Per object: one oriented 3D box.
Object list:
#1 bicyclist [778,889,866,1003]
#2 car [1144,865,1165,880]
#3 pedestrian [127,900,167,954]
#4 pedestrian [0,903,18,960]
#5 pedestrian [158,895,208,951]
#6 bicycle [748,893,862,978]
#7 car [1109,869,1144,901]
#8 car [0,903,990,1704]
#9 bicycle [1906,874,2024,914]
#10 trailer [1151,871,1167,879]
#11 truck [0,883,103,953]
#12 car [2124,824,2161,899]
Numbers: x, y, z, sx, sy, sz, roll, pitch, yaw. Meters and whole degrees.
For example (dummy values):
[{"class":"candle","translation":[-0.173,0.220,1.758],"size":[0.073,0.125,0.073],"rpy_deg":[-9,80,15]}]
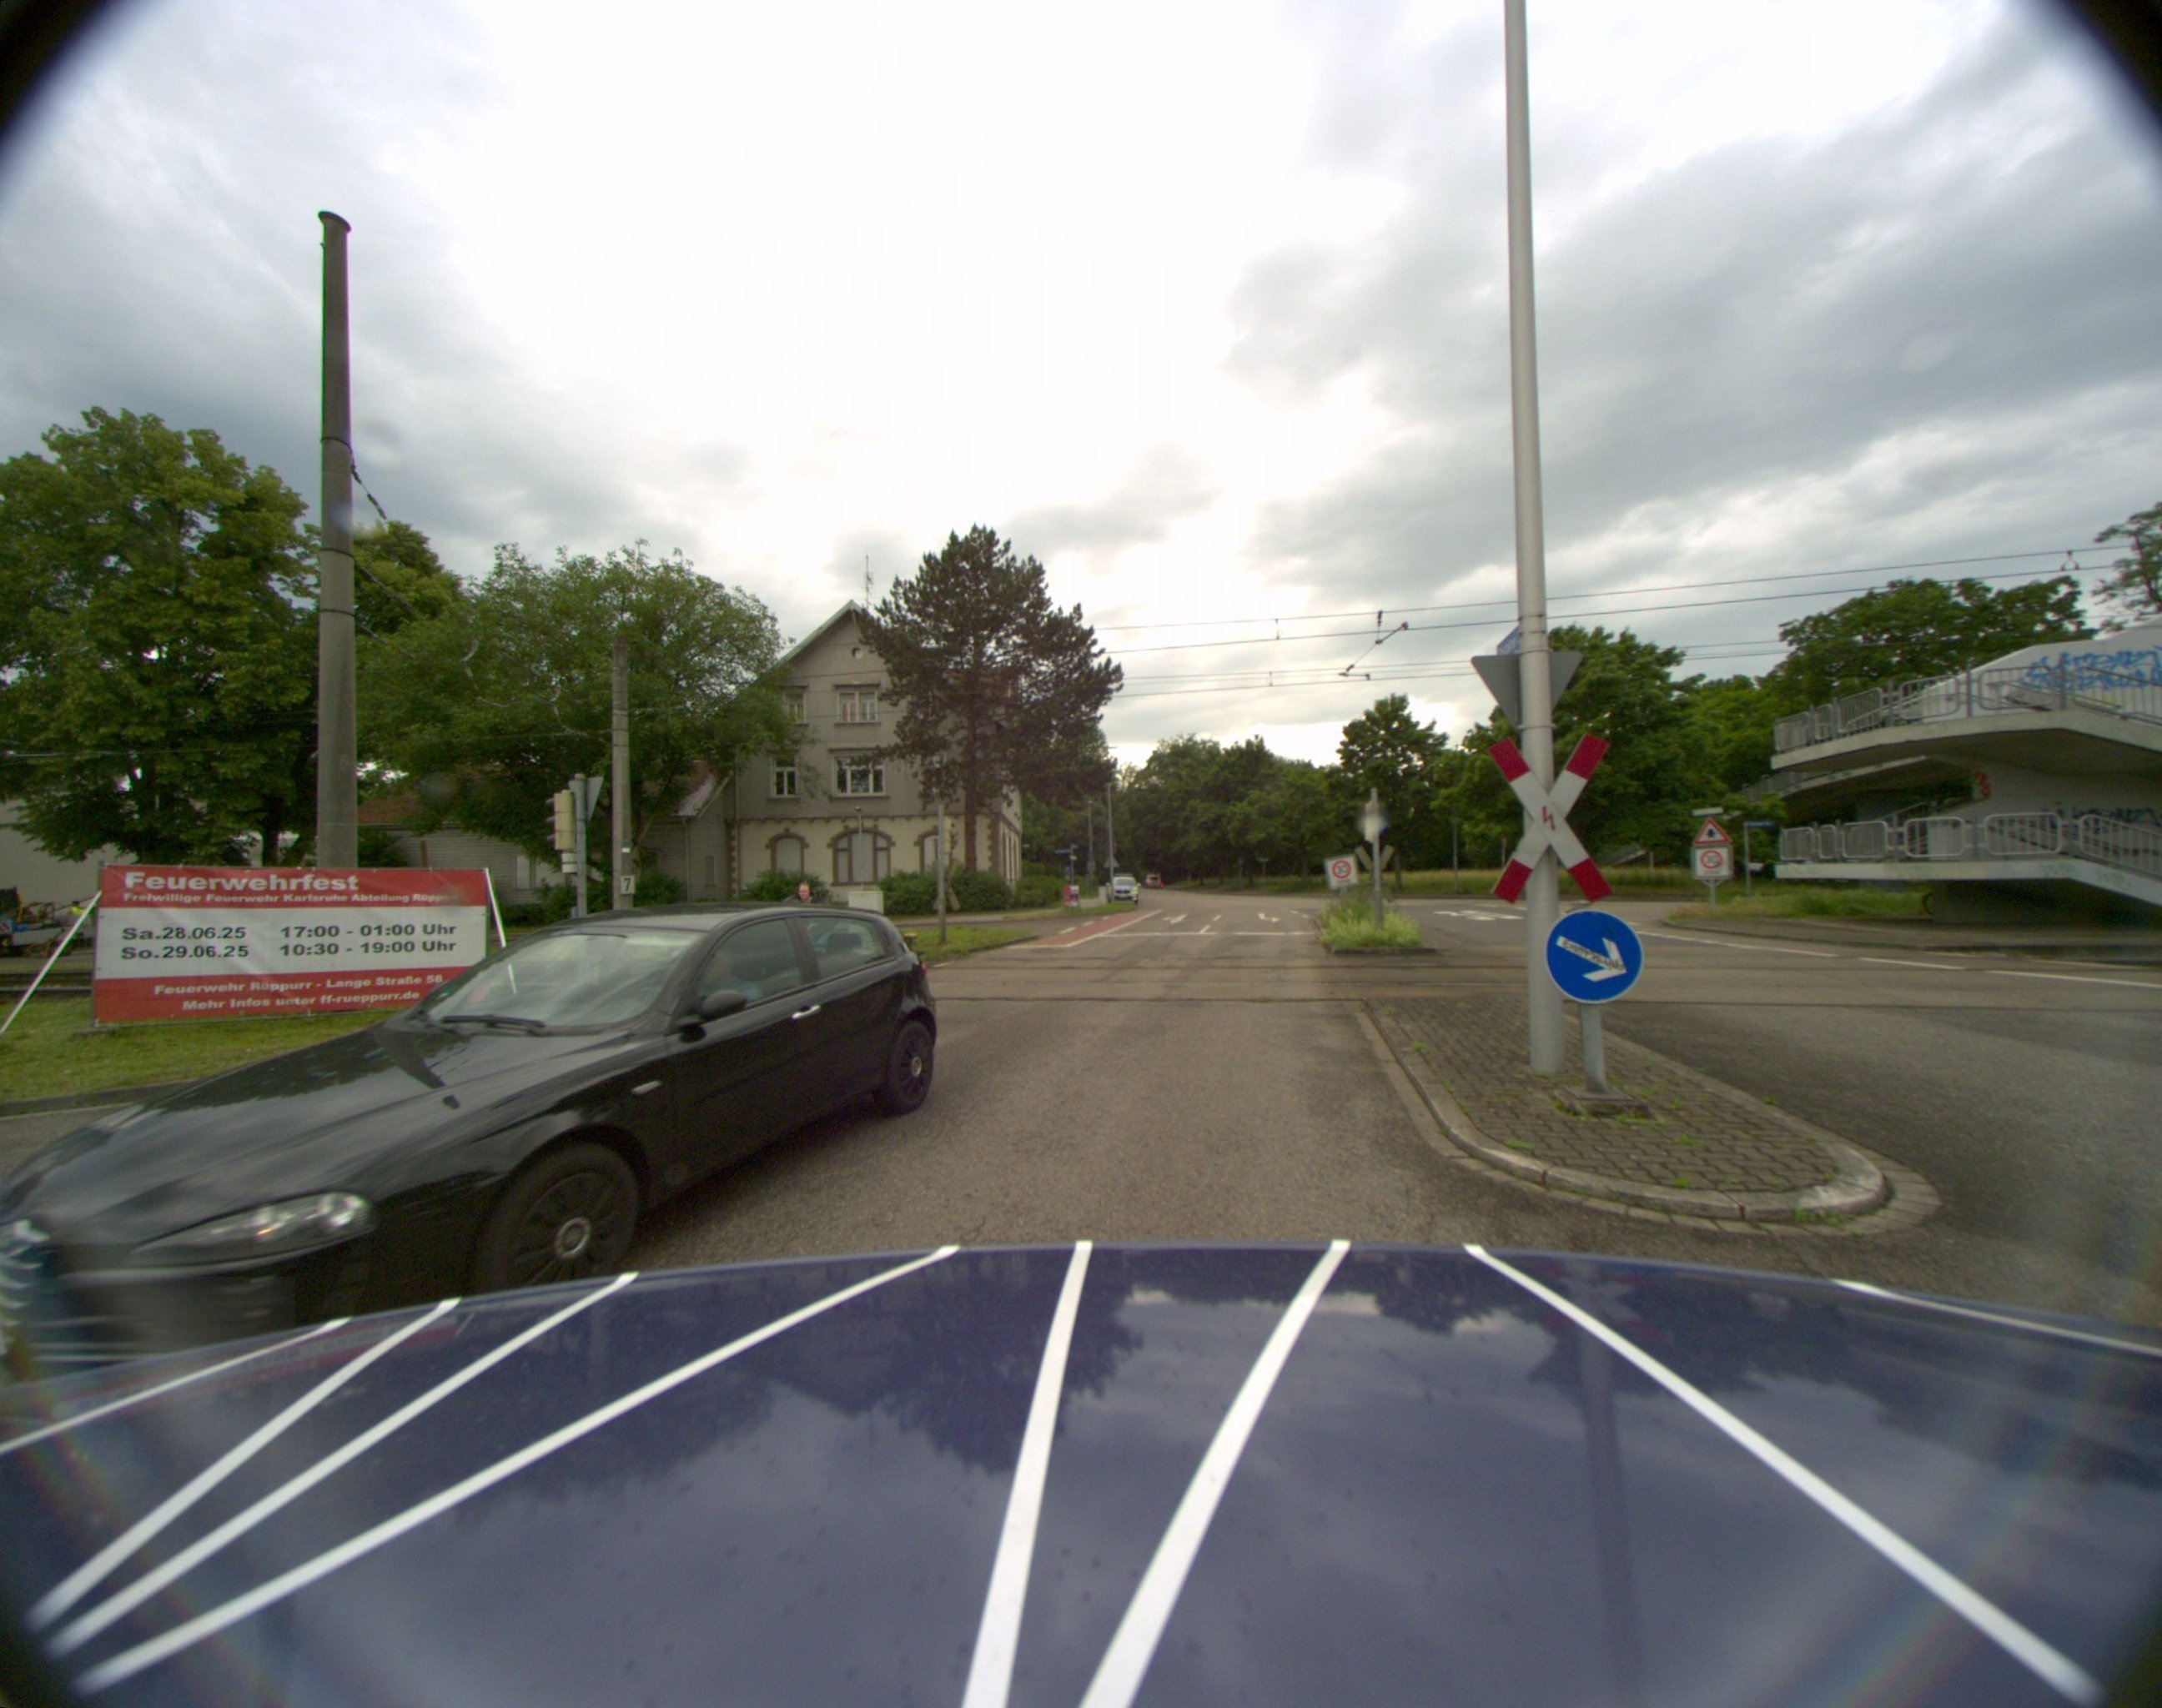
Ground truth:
[{"class":"bicyclist","translation":[-3.531,1.230,10.421],"size":[0.622,1.416,0.962],"rpy_deg":[-6,-1,12]},{"class":"car","translation":[9.519,2.432,98.768],"size":[2.094,1.846,4.221],"rpy_deg":[-2,-1,-3]},{"class":"pedestrian","translation":[-31.904,2.478,25.960],"size":[0.576,1.752,0.636],"rpy_deg":[-2,0,-7]},{"class":"pedestrian","translation":[-35.995,2.575,25.165],"size":[0.714,1.829,0.608],"rpy_deg":[-1,-1,-32]},{"class":"pedestrian","translation":[-30.614,2.348,25.907],"size":[0.679,1.843,0.875],"rpy_deg":[-2,-1,15]},{"class":"bicycle","translation":[-3.660,1.041,10.254],"size":[0.383,0.974,2.032],"rpy_deg":[-2,-1,13]},{"class":"car","translation":[2.735,1.815,46.156],"size":[1.935,1.839,4.001],"rpy_deg":[0,-1,1]},{"class":"car","translation":[-2.244,1.115,4.035],"size":[1.800,1.448,4.547],"rpy_deg":[-2,-1,16]},{"class":"bicycle","translation":[20.615,0.931,17.759],"size":[1.738,0.880,0.395],"rpy_deg":[-2,-1,37]},{"class":"trailer","translation":[9.758,2.583,94.937],"size":[1.571,0.979,3.465],"rpy_deg":[-2,-1,-1]},{"class":"truck","translation":[-39.578,2.302,27.071],"size":[6.405,2.279,2.606],"rpy_deg":[-2,-1,3]},{"class":"car","translation":[35.470,0.152,22.523],"size":[5.199,2.278,2.143],"rpy_deg":[-2,-1,12]}]
